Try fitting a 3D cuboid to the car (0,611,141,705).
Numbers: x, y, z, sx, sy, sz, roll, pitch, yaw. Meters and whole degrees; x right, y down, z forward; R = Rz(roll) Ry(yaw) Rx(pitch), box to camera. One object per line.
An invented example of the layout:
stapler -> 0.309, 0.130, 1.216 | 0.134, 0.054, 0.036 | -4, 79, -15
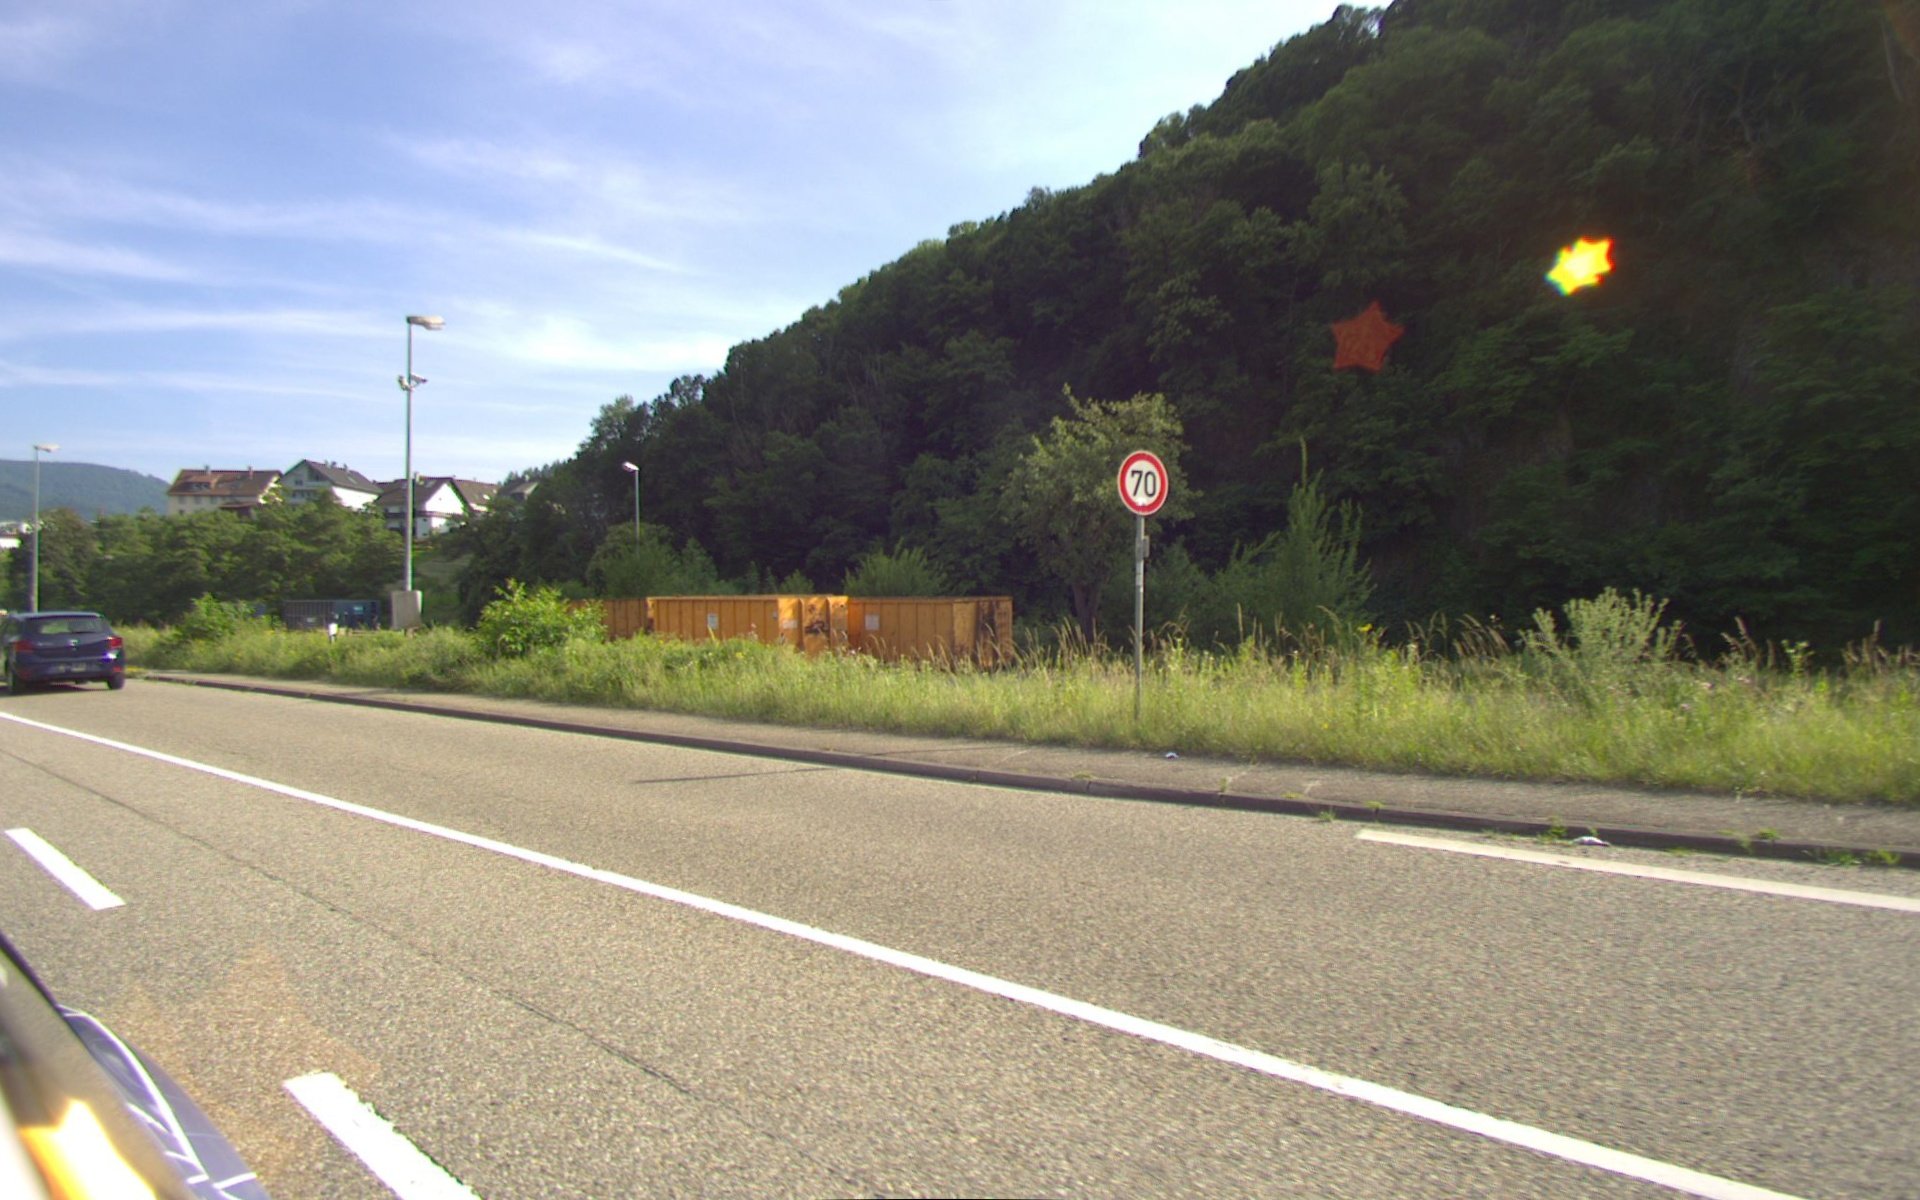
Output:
car -> -17.817, 1.078, 19.783 | 4.309, 1.597, 1.830 | -2, 0, 37
